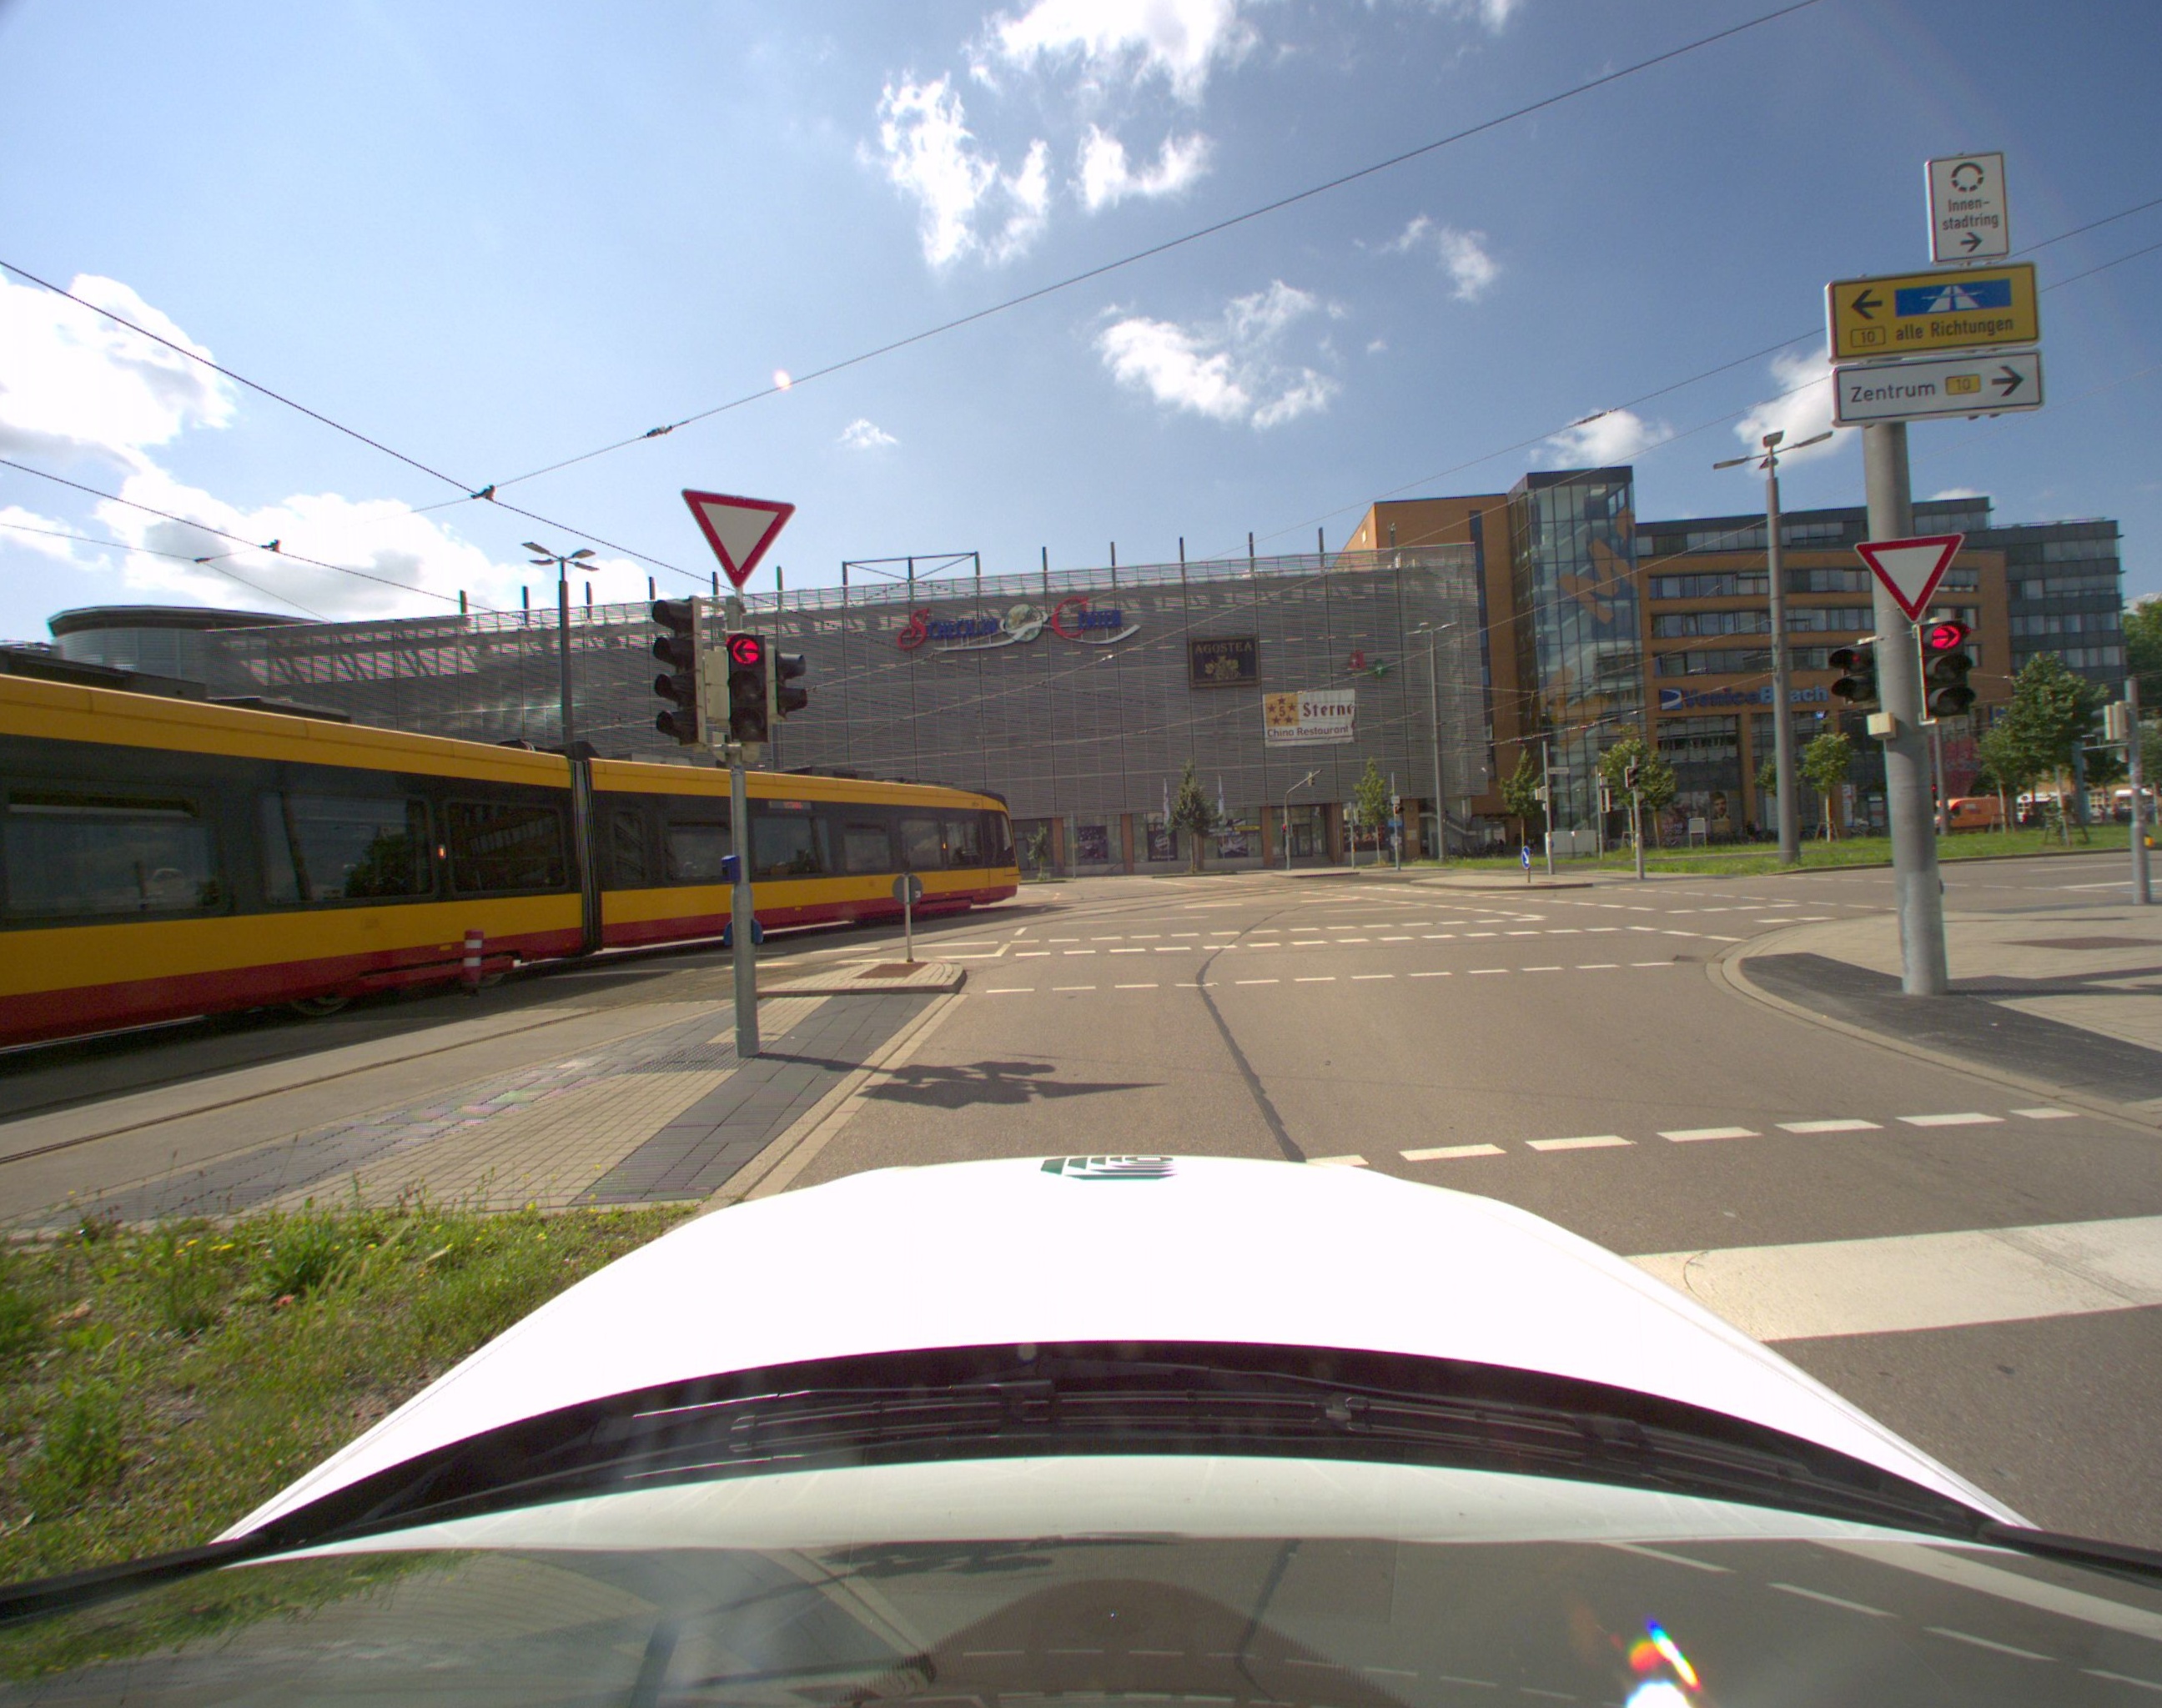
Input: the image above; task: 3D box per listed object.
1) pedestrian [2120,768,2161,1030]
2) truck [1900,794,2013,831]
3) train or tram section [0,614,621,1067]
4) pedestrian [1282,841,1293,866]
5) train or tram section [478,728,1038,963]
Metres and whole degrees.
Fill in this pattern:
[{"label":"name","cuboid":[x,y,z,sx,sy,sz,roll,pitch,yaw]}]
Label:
[{"label":"pedestrian","cuboid":[7.505,0.261,5.155,0.810,1.702,0.911,-3,-1,-25]},{"label":"truck","cuboid":[54.783,-2.604,50.997,5.500,2.085,1.995,-2,0,-8]},{"label":"train or tram section","cuboid":[-9.896,-0.039,7.732,3.036,3.603,11.026,-4,0,11]},{"label":"pedestrian","cuboid":[14.864,-0.045,58.687,0.615,1.746,0.630,-2,0,3]},{"label":"train or tram section","cuboid":[-5.795,-0.224,18.759,3.026,3.621,12.715,-4,0,29]}]
